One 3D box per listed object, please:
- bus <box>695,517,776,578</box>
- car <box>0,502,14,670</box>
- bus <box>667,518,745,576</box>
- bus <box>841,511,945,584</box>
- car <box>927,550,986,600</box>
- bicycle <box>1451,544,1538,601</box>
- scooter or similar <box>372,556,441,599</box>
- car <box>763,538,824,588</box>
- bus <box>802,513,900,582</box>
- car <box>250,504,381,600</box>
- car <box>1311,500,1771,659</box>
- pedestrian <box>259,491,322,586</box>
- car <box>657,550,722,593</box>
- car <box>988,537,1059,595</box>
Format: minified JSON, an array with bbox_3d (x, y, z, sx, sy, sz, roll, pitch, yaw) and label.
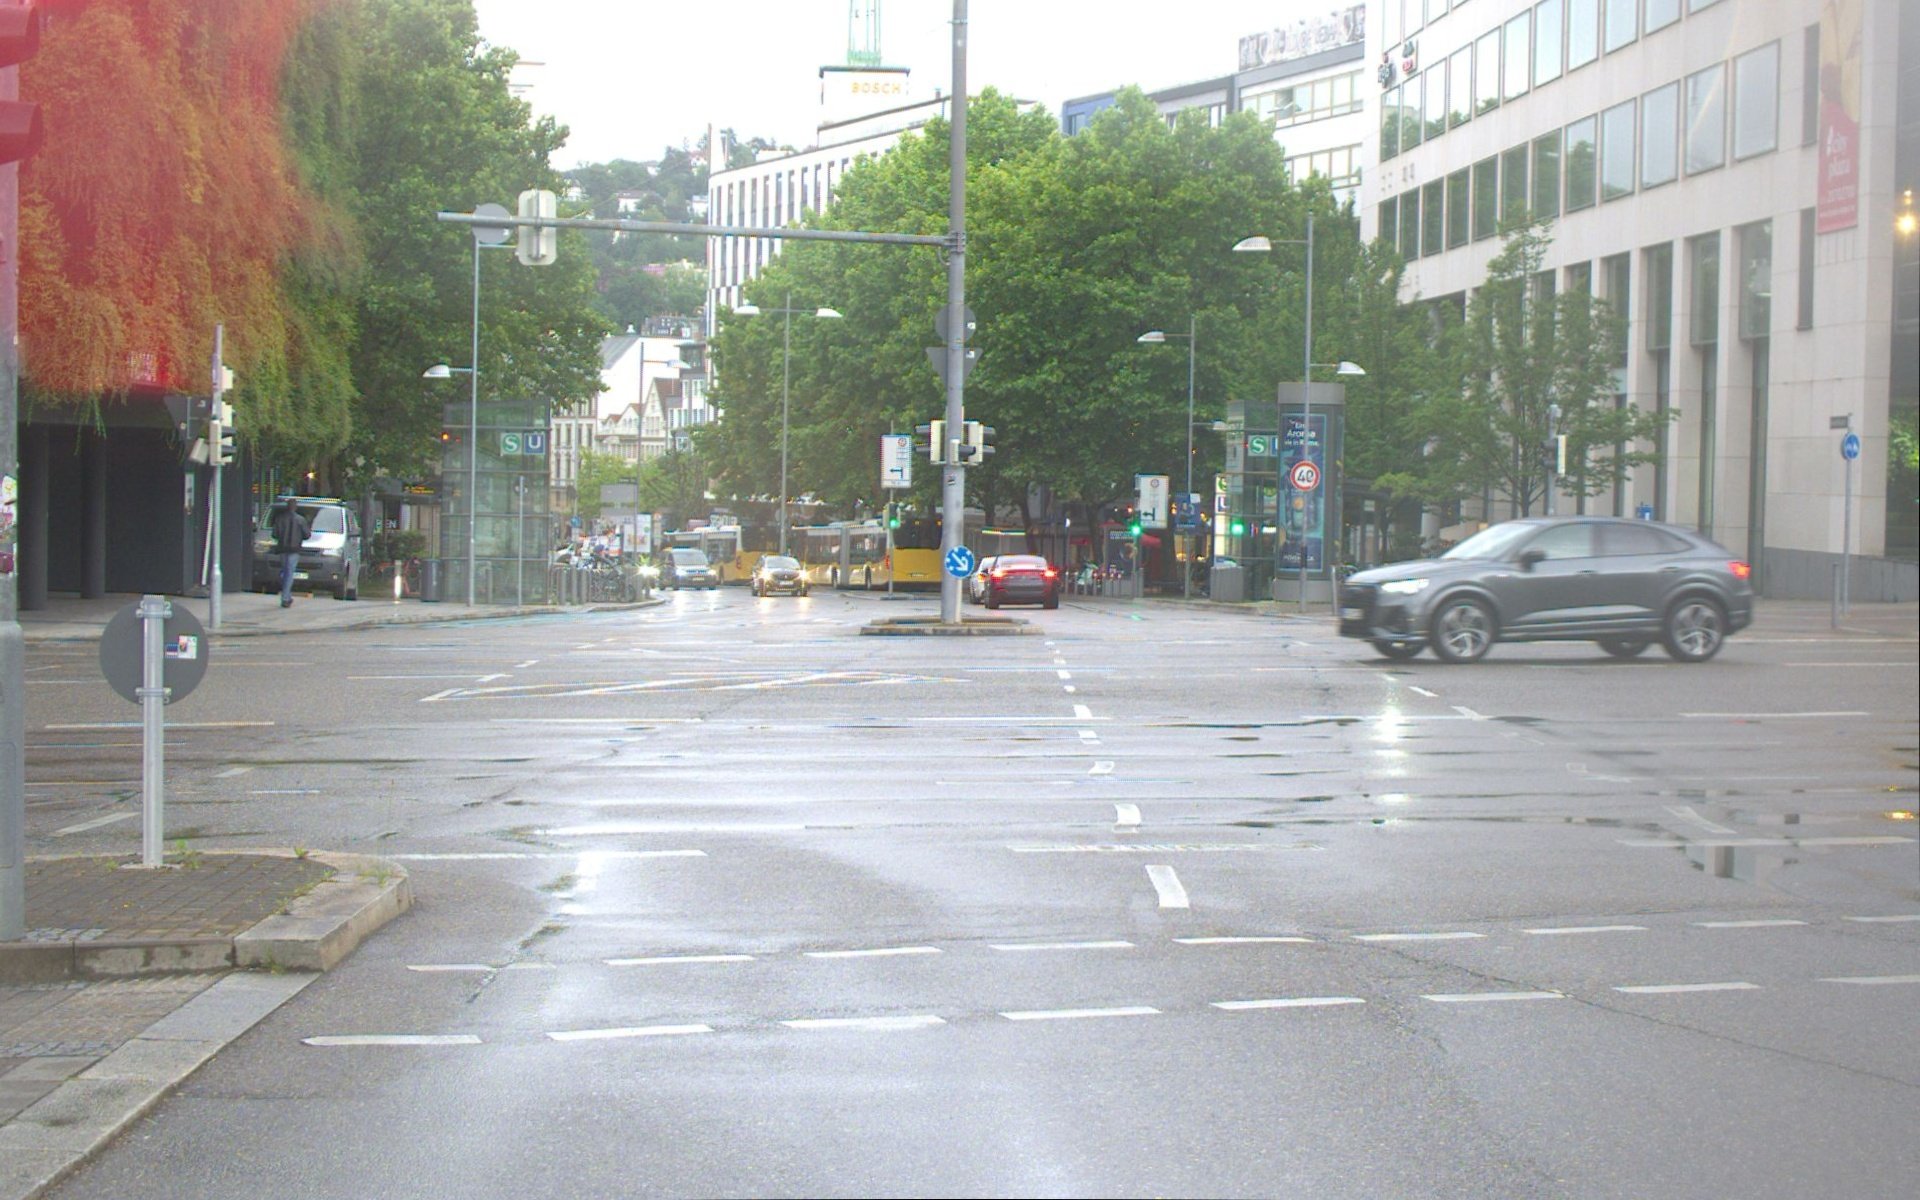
[{"bbox_3d":[-11.352,-2.658,173.229,2.627,2.985,7.330,0,1,-16],"label":"bus"},{"bbox_3d":[-11.379,-0.152,32.409,4.717,1.472,2.001,0,4,-15],"label":"car"},{"bbox_3d":[-13.367,-2.798,180.326,2.627,2.985,7.451,0,1,-16],"label":"bus"},{"bbox_3d":[-2.895,-2.245,145.937,2.627,2.985,7.451,0,1,-16],"label":"bus"},{"bbox_3d":[-0.133,-0.777,106.725,1.781,1.503,4.000,1,1,-1],"label":"car"},{"bbox_3d":[11.558,-0.596,74.323,1.777,1.190,0.586,1,0,2],"label":"bicycle"},{"bbox_3d":[-13.279,-0.540,82.544,0.623,1.001,1.657,1,1,38],"label":"scooter or similar"},{"bbox_3d":[-6.158,-1.368,126.807,2.164,1.759,5.113,-1,1,-3],"label":"car"},{"bbox_3d":[-4.909,-2.364,153.084,2.627,2.985,7.451,0,1,-16],"label":"bus"},{"bbox_3d":[-12.771,-0.951,68.326,1.870,1.833,4.000,1,1,-1],"label":"car"},{"bbox_3d":[6.197,-0.210,36.762,4.473,1.603,1.832,1,1,-16],"label":"car"},{"bbox_3d":[-11.734,-1.073,60.247,0.933,1.638,0.774,1,0,-1],"label":"pedestrian"},{"bbox_3d":[-11.424,-1.193,144.925,2.163,1.759,4.832,-1,1,-11],"label":"car"},{"bbox_3d":[1.704,-0.924,93.502,1.781,1.503,4.000,1,1,-1],"label":"car"}]
